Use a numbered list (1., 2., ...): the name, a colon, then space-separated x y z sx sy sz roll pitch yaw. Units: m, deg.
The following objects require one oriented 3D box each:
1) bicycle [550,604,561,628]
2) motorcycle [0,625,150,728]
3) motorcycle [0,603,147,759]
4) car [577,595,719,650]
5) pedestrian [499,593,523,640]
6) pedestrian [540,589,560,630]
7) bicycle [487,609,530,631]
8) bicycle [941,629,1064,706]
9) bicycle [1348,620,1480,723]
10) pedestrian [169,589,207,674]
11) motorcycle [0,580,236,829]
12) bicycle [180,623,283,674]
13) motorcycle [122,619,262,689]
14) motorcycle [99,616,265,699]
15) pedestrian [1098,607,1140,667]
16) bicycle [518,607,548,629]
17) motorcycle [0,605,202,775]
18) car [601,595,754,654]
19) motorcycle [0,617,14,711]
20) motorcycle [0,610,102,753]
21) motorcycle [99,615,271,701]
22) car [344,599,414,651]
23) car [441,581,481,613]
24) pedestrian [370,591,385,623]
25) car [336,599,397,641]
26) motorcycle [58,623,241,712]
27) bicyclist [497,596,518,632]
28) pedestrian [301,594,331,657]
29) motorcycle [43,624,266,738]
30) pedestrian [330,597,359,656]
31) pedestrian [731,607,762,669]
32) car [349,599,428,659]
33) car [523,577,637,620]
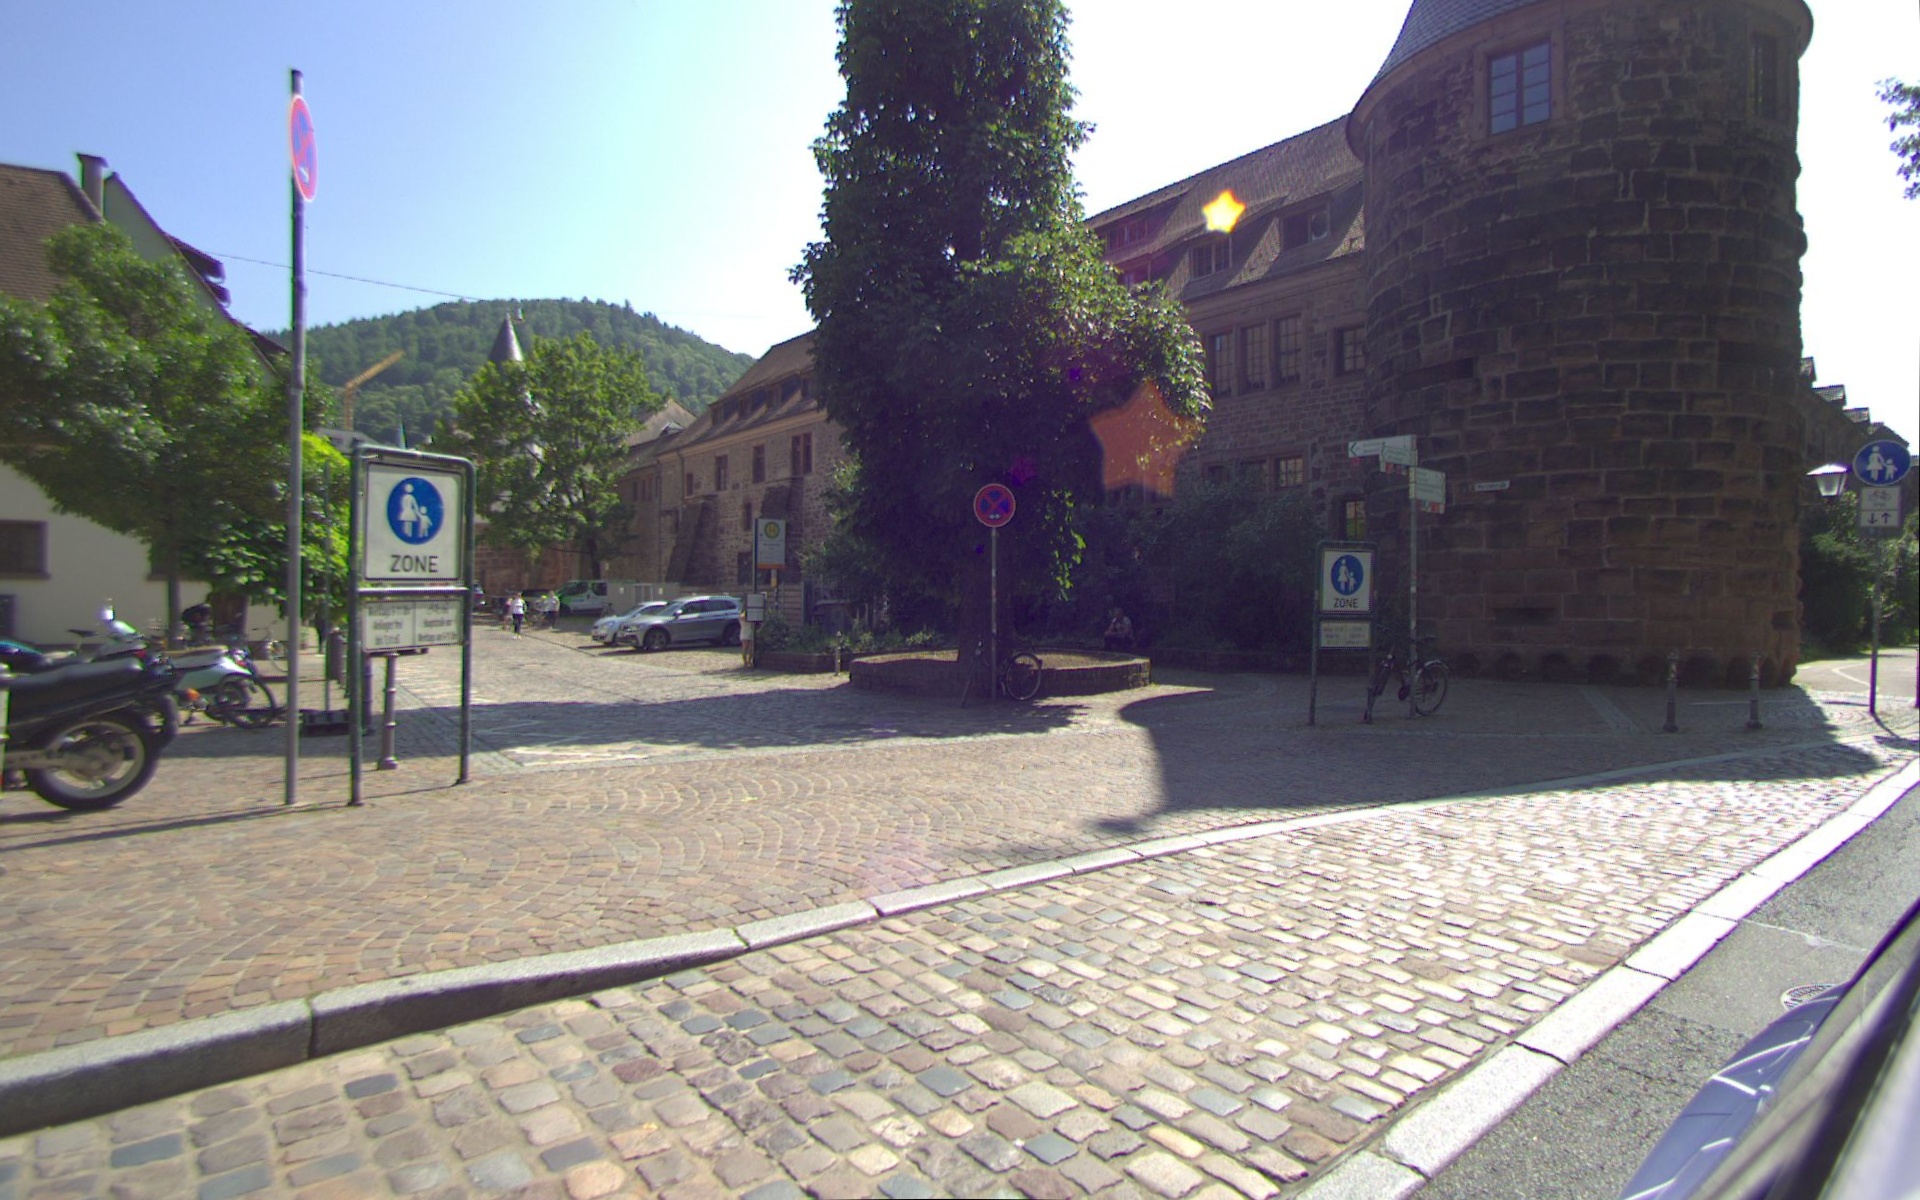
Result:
1. bicycle: -18.161 0.710 45.438 0.307 1.002 1.390 1 0 -28
2. motorcycle: -10.360 0.840 11.371 1.897 1.095 0.630 2 -2 -44
3. motorcycle: -8.119 0.655 8.309 2.230 1.252 0.740 0 0 -38
4. car: -10.933 0.737 35.555 4.345 1.636 1.999 -3 2 -37
5. pedestrian: -17.027 0.623 38.382 0.698 1.763 0.661 1 -1 -35
6. pedestrian: -17.898 0.422 44.134 0.649 1.763 0.711 1 -1 -35
7. bicycle: -20.032 0.868 44.901 1.582 0.933 0.671 1 0 1
8. bicycle: 0.619 0.939 14.495 1.679 1.015 0.660 0 -1 -30
9. bicycle: 5.769 0.862 12.820 1.812 1.167 0.844 0 0 -41
10. pedestrian: -16.423 0.658 21.532 0.594 1.763 0.661 1 -1 -35
11. motorcycle: -5.537 0.556 5.502 2.486 1.310 0.883 2 -3 -44
12. bicycle: -15.428 1.031 21.462 0.421 1.027 1.687 0 -2 44
13. motorcycle: -13.654 0.957 18.032 0.597 1.175 1.887 0 -2 44
14. motorcycle: -12.238 0.886 15.985 2.003 1.252 0.600 0 0 -14
15. pedestrian: 3.384 0.773 21.554 0.661 1.247 0.774 0 0 30
16. bicycle: -19.538 0.826 46.298 1.605 0.933 0.582 1 0 40
17. motorcycle: -7.284 0.674 7.855 2.180 1.252 0.658 0 0 -44
18. car: -9.165 0.748 32.950 4.345 1.636 1.999 -3 2 -37
19. motorcycle: -12.184 0.795 12.205 0.861 1.162 2.343 0 -1 -36
20. motorcycle: -8.785 0.713 8.940 1.773 1.247 0.671 1 -2 -38
21. motorcycle: -11.783 0.865 15.455 2.003 1.252 0.600 0 0 -15
22. car: -19.866 0.792 34.508 1.765 1.549 4.144 -2 2 -34
23. car: -31.763 -0.159 64.382 1.765 1.900 4.271 -1 -1 -33
24. pedestrian: -31.720 0.382 55.097 0.648 1.763 0.712 1 -1 -29
25. car: -22.945 0.724 39.032 1.765 1.422 4.144 -2 2 -34
26. motorcycle: -11.468 0.925 14.405 1.983 1.159 0.742 0 -2 -38
27. bicyclist: -20.083 0.607 44.916 0.621 1.564 0.647 1 0 2
28. pedestrian: -18.287 0.709 28.724 0.661 1.763 0.661 1 -1 -35
29. motorcycle: -8.914 0.845 11.244 1.874 1.108 0.875 0 0 -44
30. pedestrian: -17.762 0.757 29.211 0.661 1.650 0.661 1 -1 -35
31. pedestrian: -5.114 0.905 24.284 0.660 1.439 0.663 -1 0 -9
32. car: -17.324 0.811 30.597 1.765 1.549 4.144 -2 2 -34
33. car: -19.876 -0.109 53.065 5.297 2.149 1.998 0 1 -39
